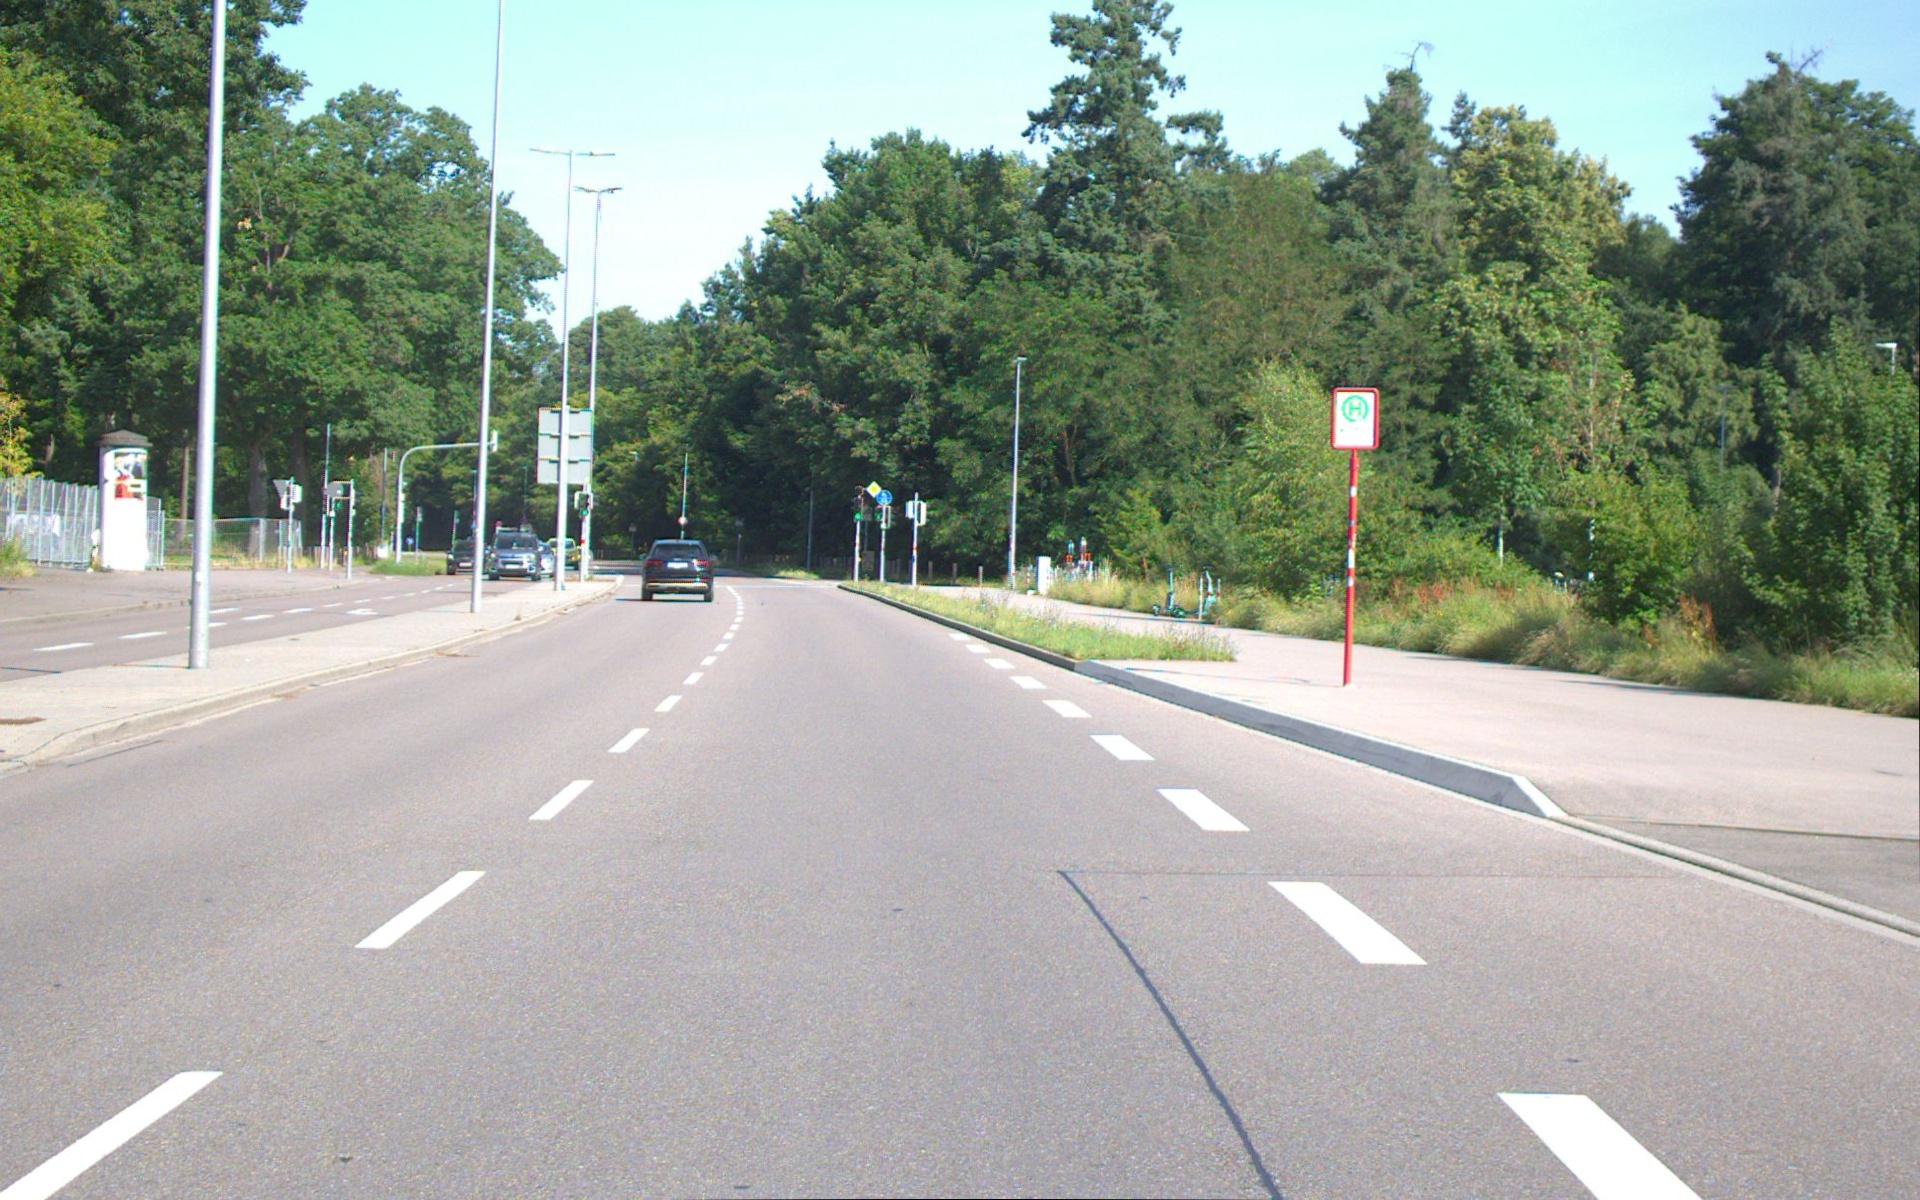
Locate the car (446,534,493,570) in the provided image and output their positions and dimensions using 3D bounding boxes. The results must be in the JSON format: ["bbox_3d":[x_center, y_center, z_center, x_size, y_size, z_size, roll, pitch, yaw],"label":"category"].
[{"bbox_3d":[-21.409,-2.088,150.165,1.793,1.473,4.001,2,1,-5],"label":"car"}]

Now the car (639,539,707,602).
[{"bbox_3d":[-7.393,-0.771,88.321,1.687,1.539,4.149,1,1,-5],"label":"car"}]

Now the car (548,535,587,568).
[{"bbox_3d":[-20.139,-2.488,176.345,1.845,1.612,4.001,2,1,-7],"label":"car"}]

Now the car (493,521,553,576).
[{"bbox_3d":[-16.005,-1.889,126.072,1.841,1.925,4.630,1,1,-4],"label":"car"}]
